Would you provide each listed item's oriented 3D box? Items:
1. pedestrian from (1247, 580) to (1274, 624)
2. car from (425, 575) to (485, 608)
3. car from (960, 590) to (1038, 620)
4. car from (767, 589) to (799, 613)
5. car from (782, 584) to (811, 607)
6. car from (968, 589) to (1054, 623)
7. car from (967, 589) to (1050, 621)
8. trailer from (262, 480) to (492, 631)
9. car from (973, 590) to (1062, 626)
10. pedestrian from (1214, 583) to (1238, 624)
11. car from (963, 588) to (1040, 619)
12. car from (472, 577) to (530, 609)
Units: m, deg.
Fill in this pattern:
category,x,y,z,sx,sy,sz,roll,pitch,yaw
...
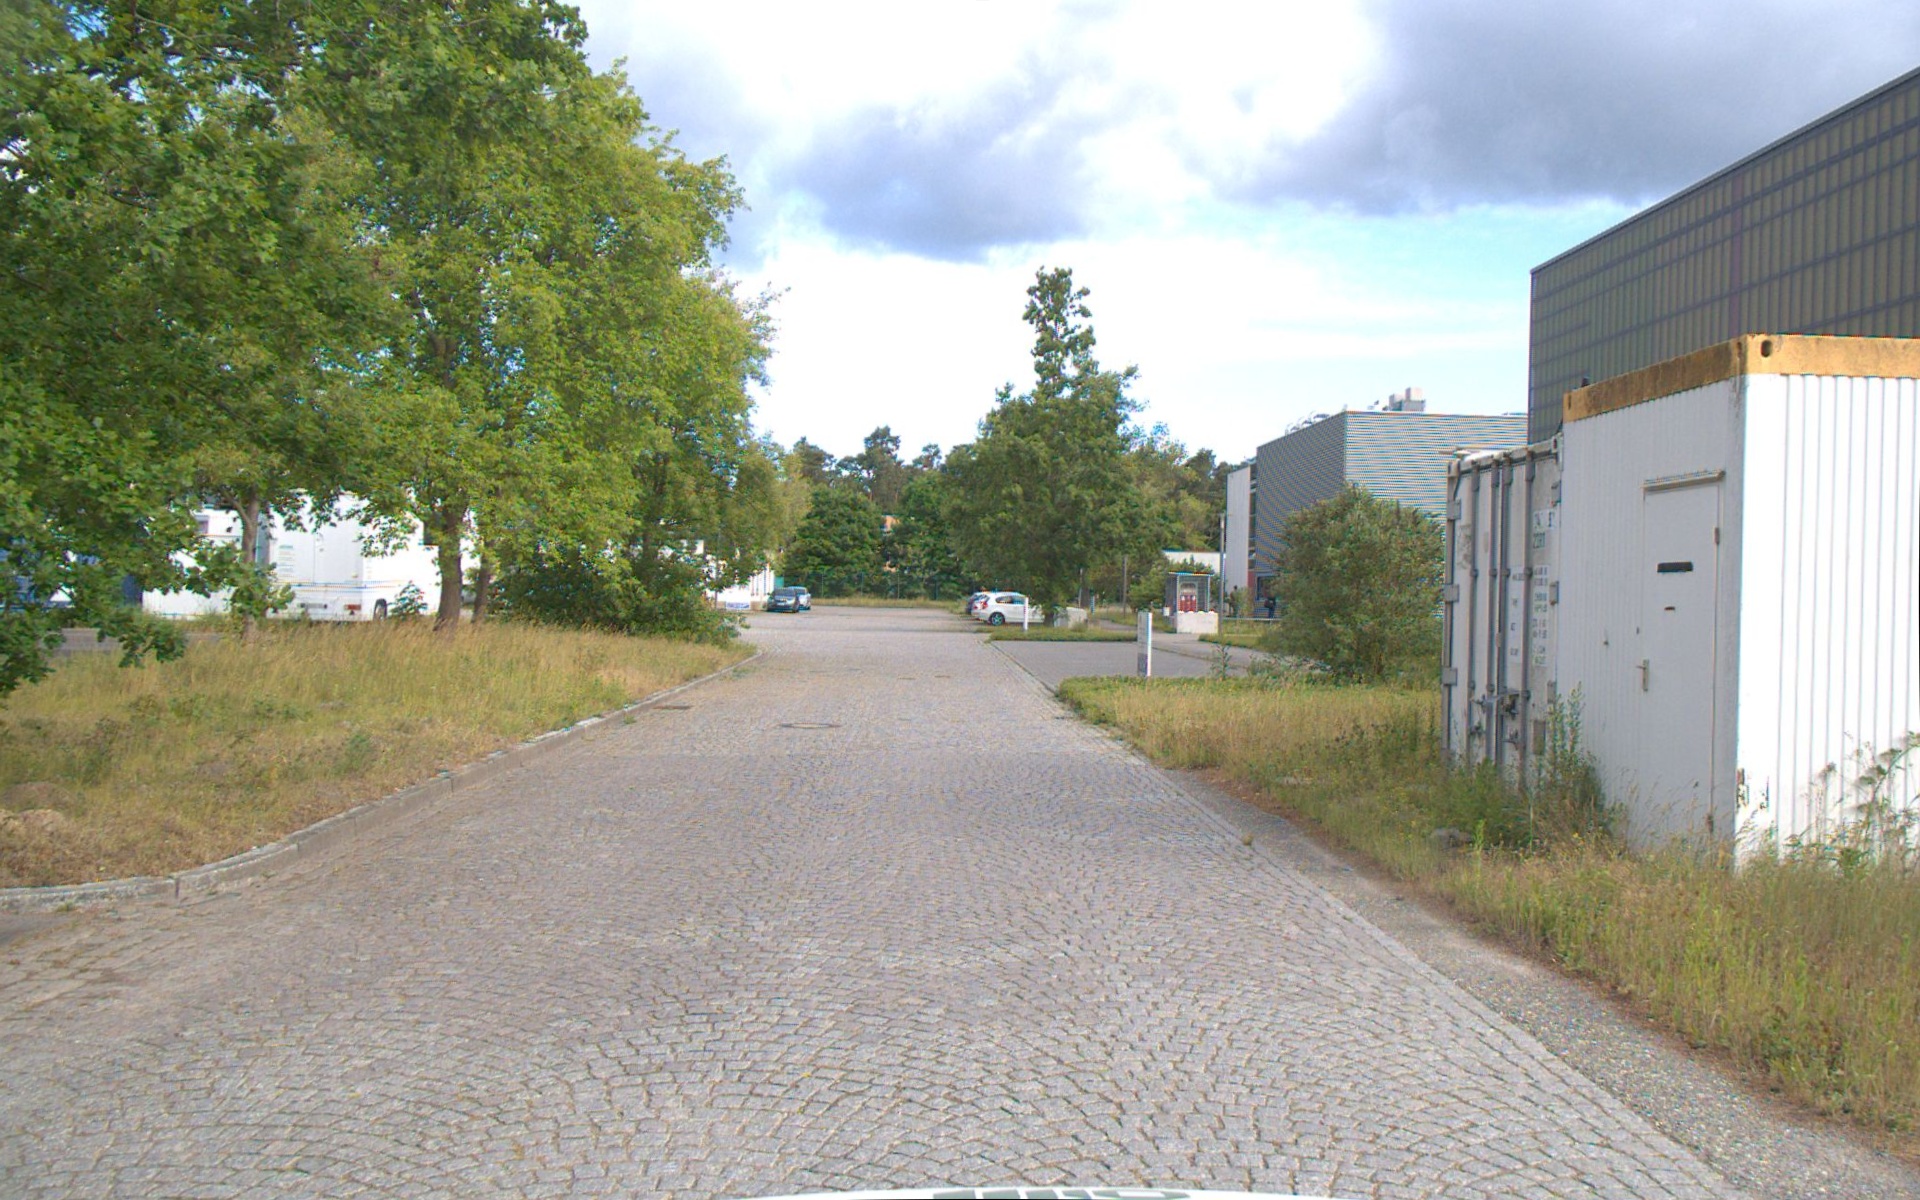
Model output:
category,x,y,z,sx,sy,sz,roll,pitch,yaw
pedestrian,13.805,0.094,75.867,0.840,1.970,0.914,1,0,41
car,-26.228,-0.439,86.027,1.862,1.602,4.000,1,0,0
car,1.992,0.253,85.080,3.906,1.481,1.769,1,0,-2
car,-10.533,0.037,98.489,1.714,1.388,3.997,1,0,-4
car,-10.739,-0.292,108.716,1.714,1.480,3.997,1,0,-4
car,2.365,0.263,77.147,3.906,1.481,1.697,1,0,-2
car,2.325,0.222,80.187,3.906,1.481,1.769,1,0,-2
trailer,-16.226,-1.145,47.116,2.602,3.770,10.722,1,0,1
car,2.589,0.361,74.986,3.906,1.481,1.999,2,-1,-2
pedestrian,13.504,0.172,84.013,0.903,2.049,1.144,1,0,-8
car,2.210,0.167,88.304,3.910,1.560,1.998,1,0,-6
car,-23.587,-0.362,85.143,1.862,1.602,4.000,1,0,0
